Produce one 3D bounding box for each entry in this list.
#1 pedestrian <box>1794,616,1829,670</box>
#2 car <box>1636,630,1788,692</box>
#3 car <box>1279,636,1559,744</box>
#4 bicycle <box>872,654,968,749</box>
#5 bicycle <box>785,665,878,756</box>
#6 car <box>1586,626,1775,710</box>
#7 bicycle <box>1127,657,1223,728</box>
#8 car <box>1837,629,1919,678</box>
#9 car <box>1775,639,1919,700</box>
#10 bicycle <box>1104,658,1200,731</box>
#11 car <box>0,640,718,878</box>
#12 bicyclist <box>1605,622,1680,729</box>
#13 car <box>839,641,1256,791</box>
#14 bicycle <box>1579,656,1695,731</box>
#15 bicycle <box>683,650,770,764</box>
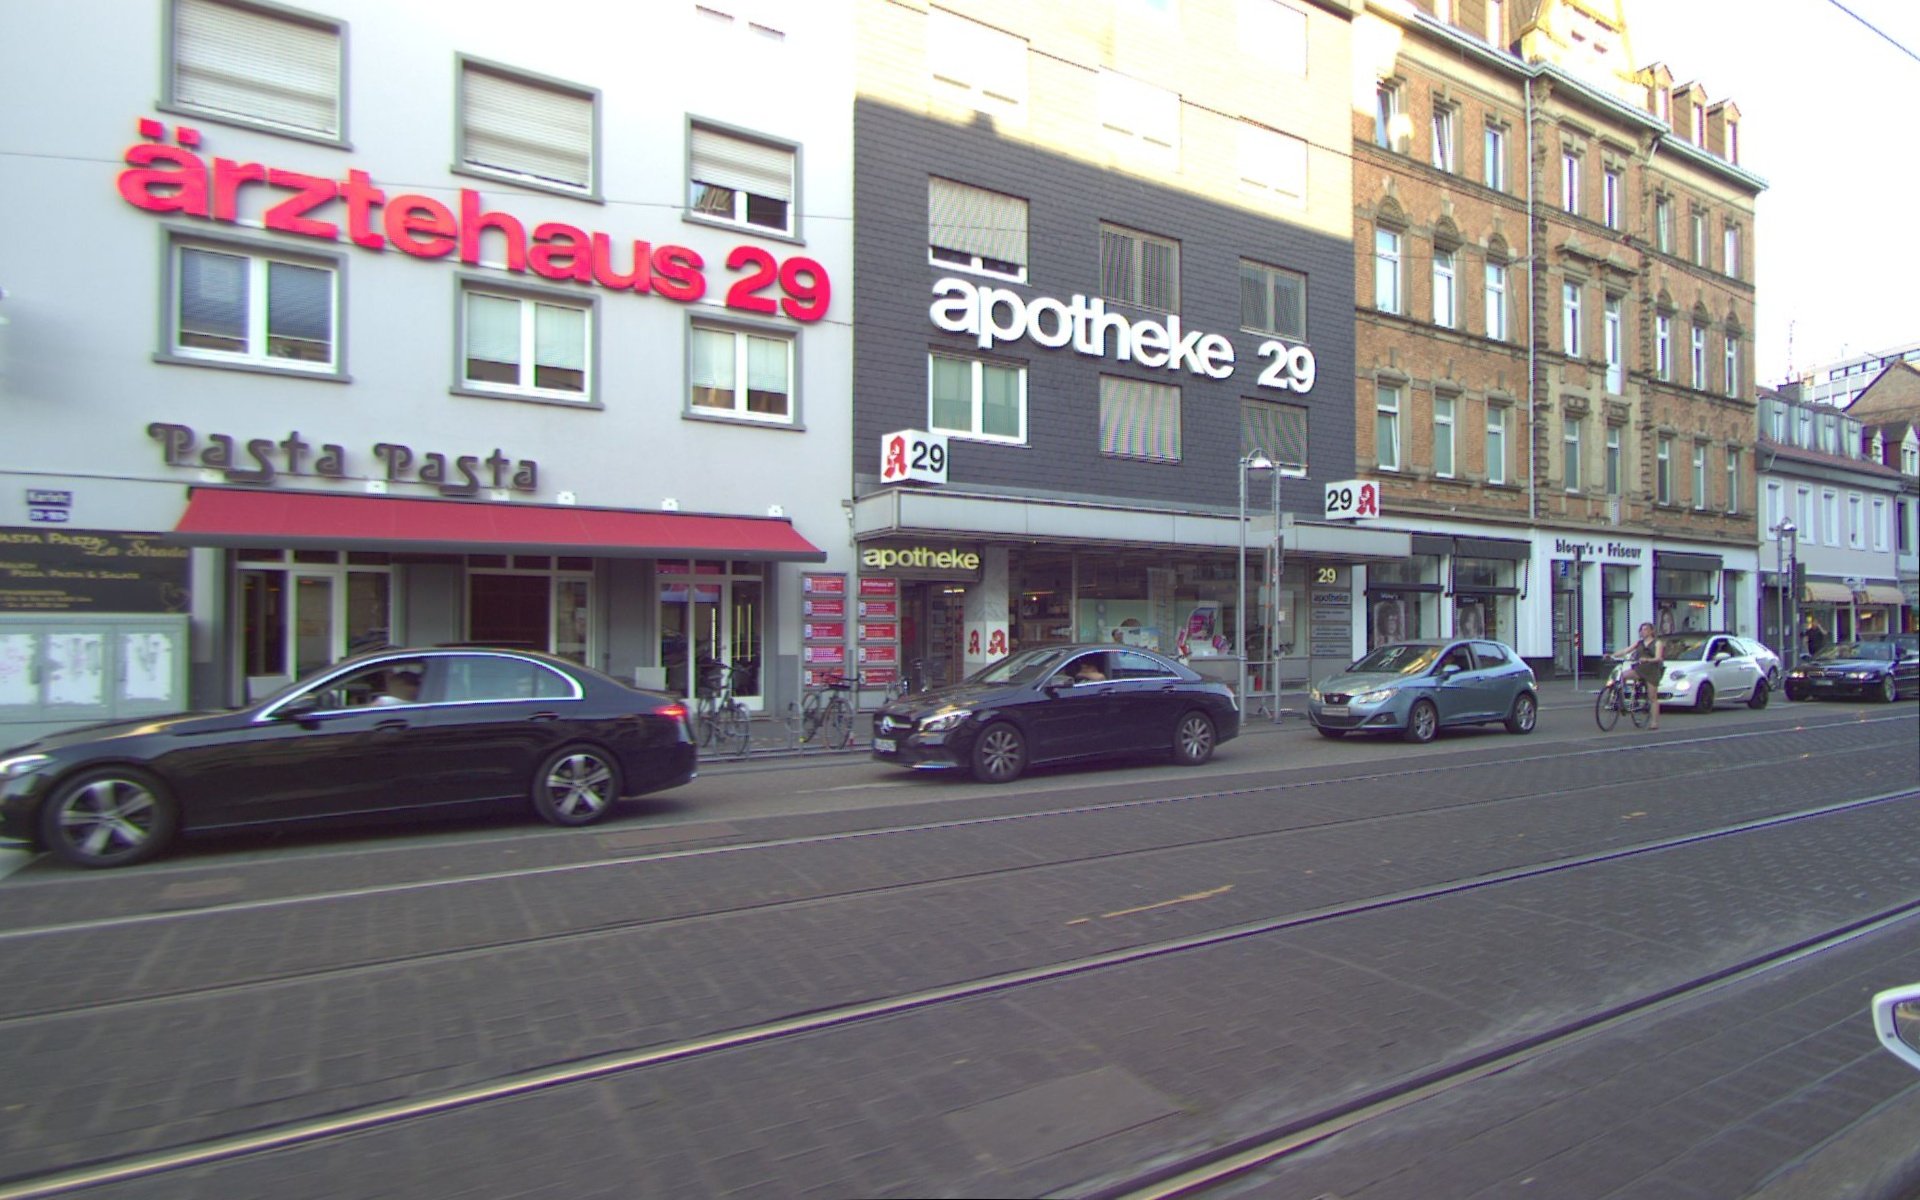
[{"bbox_3d":[29.028,1.453,34.247,0.845,1.796,0.645,1,0,-30],"label":"pedestrian"},{"bbox_3d":[19.524,1.516,26.028,4.226,1.408,1.749,1,0,-32],"label":"car"},{"bbox_3d":[6.847,1.272,14.931,4.012,1.404,1.751,1,-4,-30],"label":"car"},{"bbox_3d":[-0.609,1.414,14.459,0.600,1.149,1.847,1,1,-29],"label":"bicycle"},{"bbox_3d":[-1.781,1.462,13.676,0.600,0.997,1.847,1,1,-29],"label":"bicycle"},{"bbox_3d":[14.204,1.309,19.775,3.637,1.525,1.659,1,-4,-31],"label":"car"},{"bbox_3d":[3.555,1.511,16.761,0.457,0.997,1.847,1,1,-29],"label":"bicycle"},{"bbox_3d":[29.962,1.663,32.127,3.818,1.408,1.726,1,0,-30],"label":"car"},{"bbox_3d":[20.054,1.510,22.296,4.224,1.244,1.659,1,-4,-31],"label":"car"},{"bbox_3d":[3.118,1.513,16.499,0.457,0.997,1.847,1,1,-29],"label":"bicycle"},{"bbox_3d":[-4.405,1.065,7.975,4.509,1.404,1.907,1,-4,-30],"label":"car"},{"bbox_3d":[10.534,1.143,15.511,0.790,1.586,0.690,1,-2,-31],"label":"bicyclist"},{"bbox_3d":[1.064,1.219,11.571,4.509,1.404,1.907,1,-4,-30],"label":"car"},{"bbox_3d":[10.421,1.399,15.432,2.058,1.047,0.690,1,-2,-32],"label":"bicycle"},{"bbox_3d":[-3.054,1.335,13.018,0.600,1.243,1.847,1,1,-29],"label":"bicycle"}]
